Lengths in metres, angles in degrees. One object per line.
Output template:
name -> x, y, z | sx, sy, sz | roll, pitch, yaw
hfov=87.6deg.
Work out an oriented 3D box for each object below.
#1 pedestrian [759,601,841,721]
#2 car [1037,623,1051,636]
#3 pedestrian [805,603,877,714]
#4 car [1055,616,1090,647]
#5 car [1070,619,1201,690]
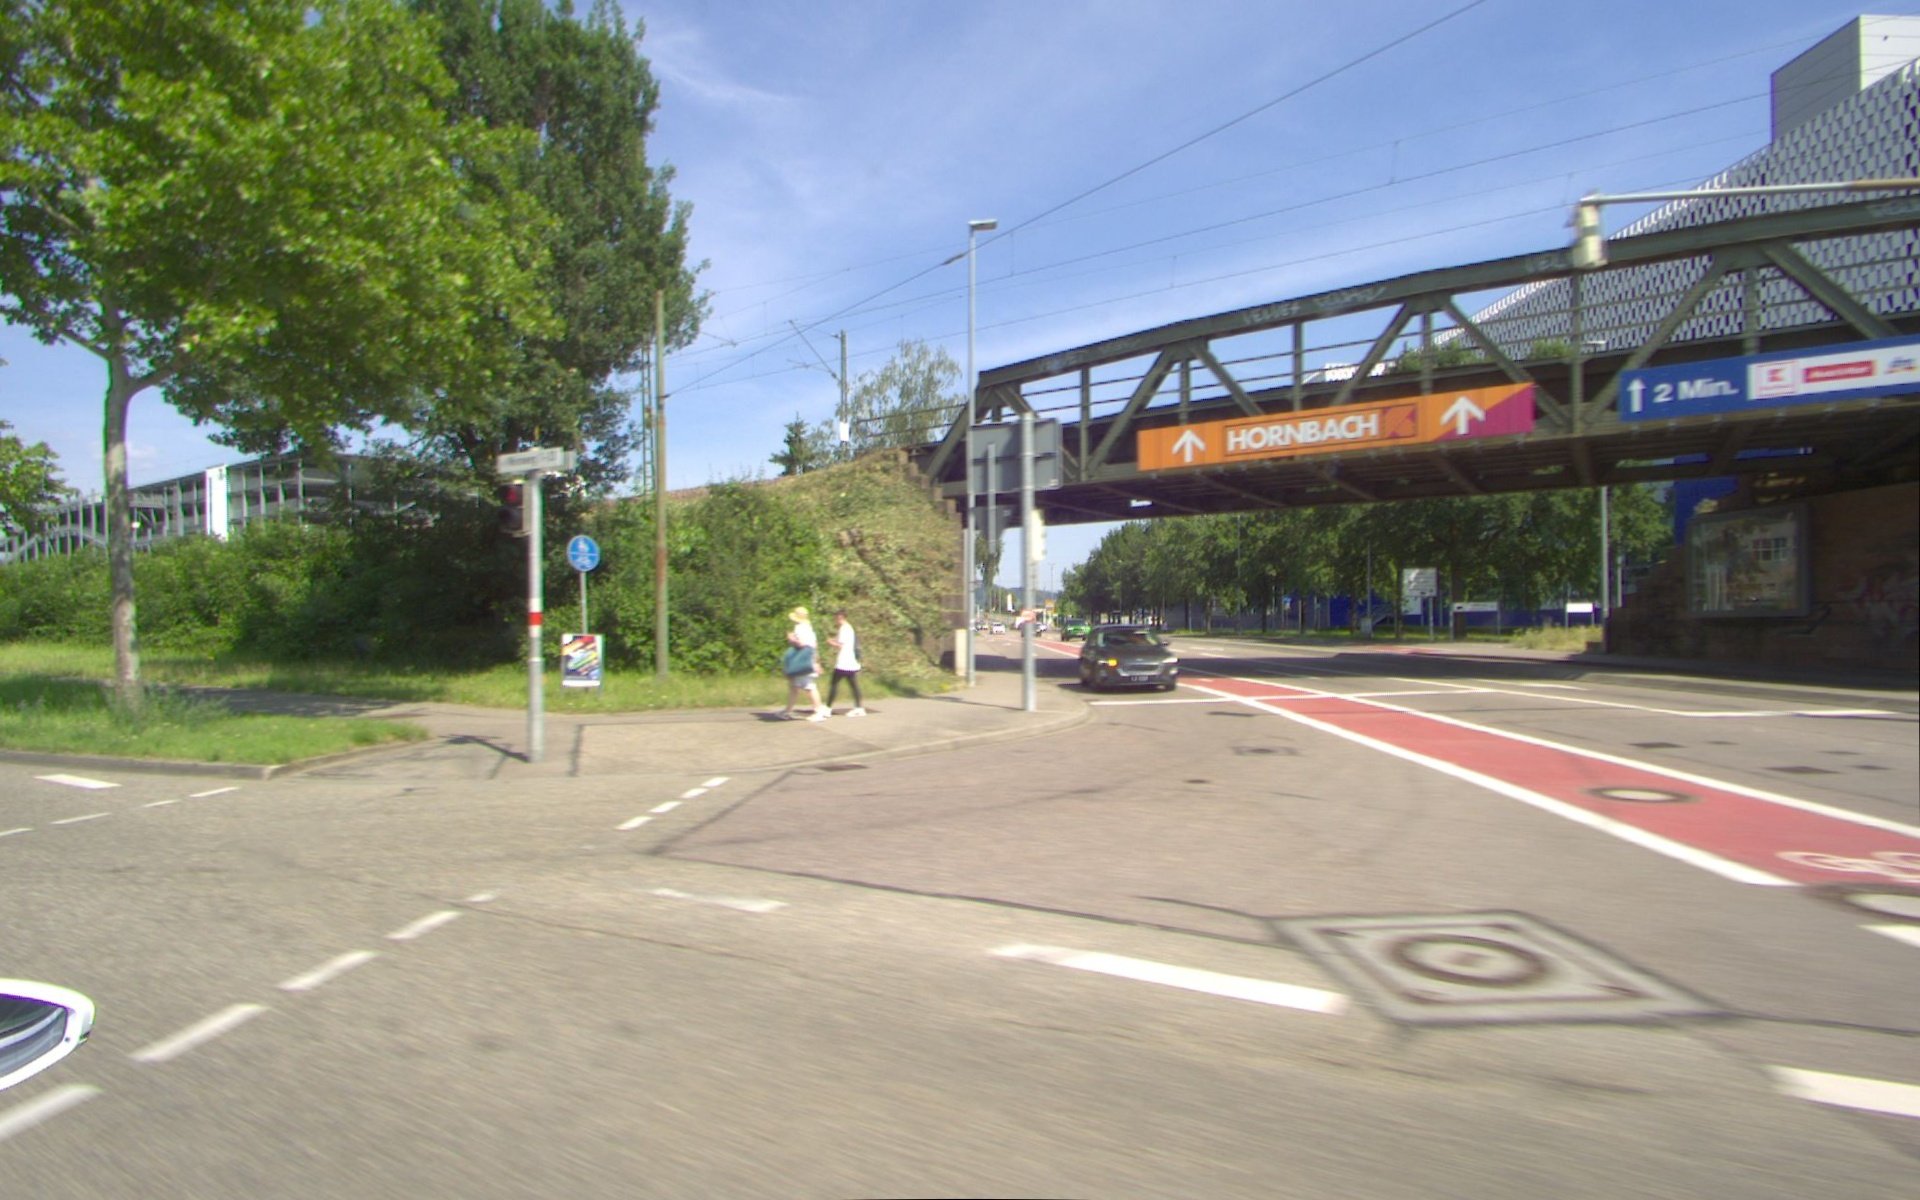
pedestrian -> -2.267, 0.844, 14.218 | 0.766, 1.632, 0.866 | -1, -1, 33
car -> 13.747, 4.880, 164.017 | 1.961, 2.039, 4.001 | 0, -1, 0
pedestrian -> -1.764, 0.854, 14.872 | 0.766, 1.600, 0.728 | -1, -1, 33
car -> 7.816, 2.182, 69.825 | 1.961, 2.039, 4.001 | 0, -1, 0
car -> 3.839, 1.180, 22.677 | 1.961, 1.427, 4.502 | 0, -2, -3
